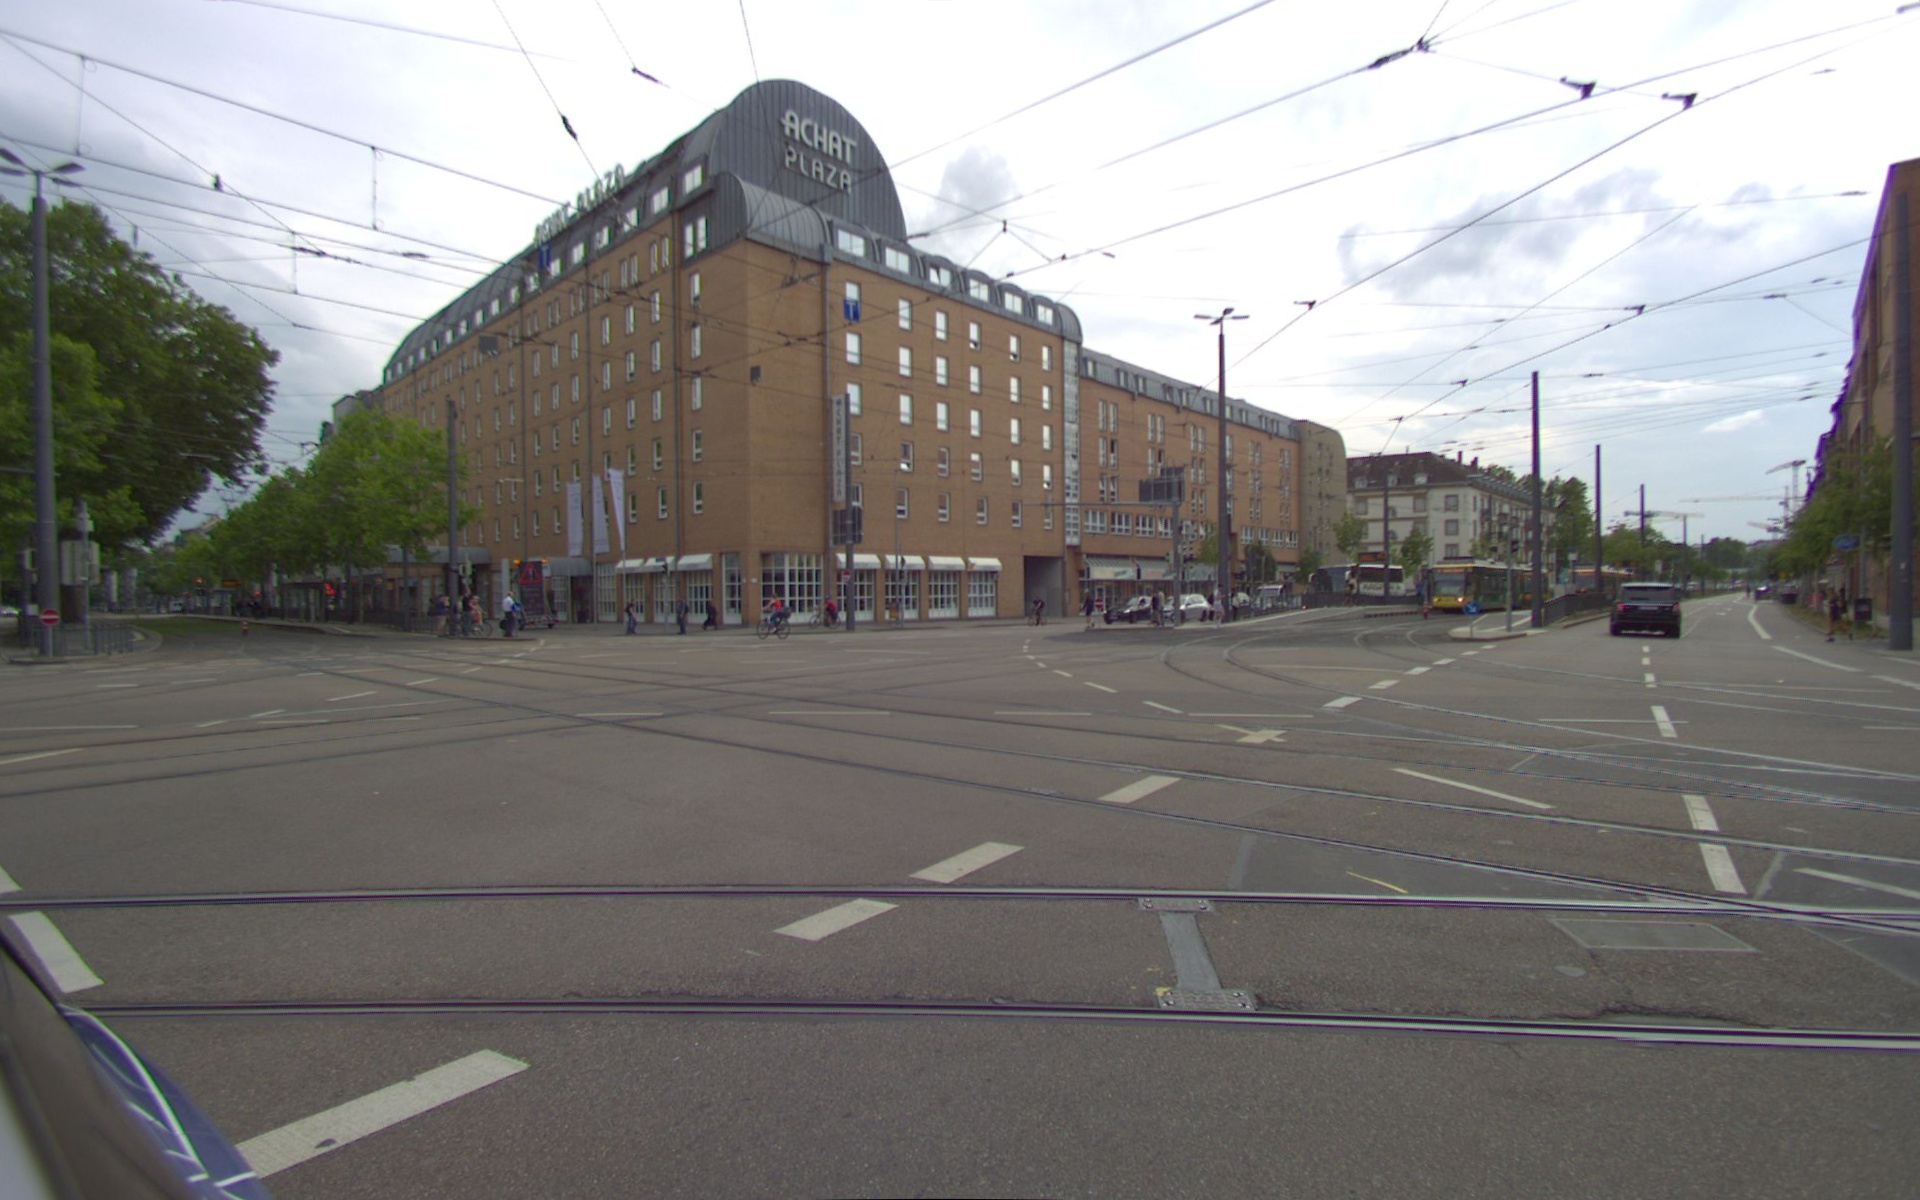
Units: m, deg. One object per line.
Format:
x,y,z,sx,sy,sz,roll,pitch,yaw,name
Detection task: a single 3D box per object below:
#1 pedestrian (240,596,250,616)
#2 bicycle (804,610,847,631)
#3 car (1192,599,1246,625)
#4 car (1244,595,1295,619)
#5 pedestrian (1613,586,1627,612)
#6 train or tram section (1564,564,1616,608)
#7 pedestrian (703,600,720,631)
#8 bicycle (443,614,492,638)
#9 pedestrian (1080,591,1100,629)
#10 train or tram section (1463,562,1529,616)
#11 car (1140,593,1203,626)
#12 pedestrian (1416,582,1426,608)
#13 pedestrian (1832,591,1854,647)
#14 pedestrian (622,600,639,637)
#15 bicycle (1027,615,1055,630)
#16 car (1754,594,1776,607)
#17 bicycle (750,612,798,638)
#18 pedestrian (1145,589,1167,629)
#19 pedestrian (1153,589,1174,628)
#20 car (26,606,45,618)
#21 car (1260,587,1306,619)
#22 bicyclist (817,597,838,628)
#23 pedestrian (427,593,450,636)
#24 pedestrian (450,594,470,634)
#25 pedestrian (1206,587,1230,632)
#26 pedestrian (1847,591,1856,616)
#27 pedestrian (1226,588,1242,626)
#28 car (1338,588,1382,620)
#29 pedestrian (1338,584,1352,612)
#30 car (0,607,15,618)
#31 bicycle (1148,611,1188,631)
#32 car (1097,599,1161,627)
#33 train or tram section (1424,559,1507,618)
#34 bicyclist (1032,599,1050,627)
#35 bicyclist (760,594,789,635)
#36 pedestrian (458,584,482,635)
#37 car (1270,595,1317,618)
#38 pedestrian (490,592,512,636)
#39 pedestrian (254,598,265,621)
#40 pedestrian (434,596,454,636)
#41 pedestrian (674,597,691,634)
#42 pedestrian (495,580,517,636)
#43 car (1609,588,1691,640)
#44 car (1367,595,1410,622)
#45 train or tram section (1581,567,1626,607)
-61.863,0.537,87.552,0.639,1.719,0.625,0,-1,-41,pedestrian
-6.751,1.007,50.887,2.025,1.016,0.642,0,0,-32,bicycle
15.435,0.697,60.173,1.700,1.453,3.948,-1,0,38,car
19.401,0.426,63.365,1.700,1.453,3.949,-2,-1,38,car
51.910,-0.100,79.610,0.779,2.029,1.213,-1,-1,40,pedestrian
53.123,-1.134,85.271,2.449,3.477,9.481,-2,-1,39,train or tram section
-12.108,0.763,49.264,0.642,1.518,0.534,0,0,7,pedestrian
-19.505,1.030,40.096,0.499,0.895,1.687,-1,0,44,bicycle
6.028,0.444,46.945,0.749,1.745,0.571,-1,0,35,pedestrian
37.270,-0.725,70.272,2.575,3.477,7.522,-2,-1,39,train or tram section
11.571,0.490,55.231,1.798,1.696,3.948,-1,0,39,car
30.835,-0.317,67.616,0.542,1.745,0.487,-1,0,32,pedestrian
27.203,0.575,31.172,0.460,1.722,0.475,-1,0,44,pedestrian
-15.473,0.882,47.531,0.535,1.719,0.556,-1,0,44,pedestrian
4.440,1.219,55.618,0.639,0.787,1.773,-1,0,39,bicycle
83.349,0.023,104.799,1.695,1.304,3.947,-1,0,40,car
-6.833,0.910,37.095,1.890,0.943,0.651,0,0,37,bicycle
8.734,0.401,45.099,0.749,1.745,0.571,-1,0,35,pedestrian
9.209,0.394,45.745,0.749,1.745,0.571,-1,0,35,pedestrian
-144.003,1.854,157.602,3.997,1.722,1.647,0,0,40,car
23.940,0.210,74.885,1.700,2.247,4.773,-1,0,38,car
-6.683,0.630,50.937,0.851,1.512,0.638,0,0,-32,bicyclist
-21.186,0.594,41.126,0.533,1.719,0.677,-1,0,33,pedestrian
-21.819,0.616,44.156,0.533,1.719,0.557,-1,0,33,pedestrian
10.230,0.374,40.114,0.750,1.745,0.571,-1,0,40,pedestrian
62.772,0.252,71.271,0.432,1.722,0.525,-1,0,37,pedestrian
12.704,0.315,46.893,0.576,1.745,0.625,-1,0,31,pedestrian
30.290,0.289,76.539,1.700,2.337,5.018,-2,-1,38,car
21.778,-0.116,57.253,0.654,1.548,0.486,-1,0,36,pedestrian
-146.624,1.876,155.410,3.997,1.722,1.647,0,0,40,car
9.488,0.937,46.170,1.790,0.895,0.474,0,0,40,bicycle
9.473,0.696,56.534,1.798,1.490,3.948,-2,-1,39,car
31.933,-0.678,63.733,2.574,3.477,9.481,-2,-1,39,train or tram section
4.455,0.689,55.632,0.636,1.512,0.854,-1,0,39,bicyclist
-6.796,0.523,37.060,0.816,1.512,0.643,-1,0,37,bicyclist
-19.257,0.376,39.764,0.534,1.966,0.684,-1,0,39,pedestrian
22.031,0.418,66.763,1.700,1.453,3.948,-1,0,38,car
-18.115,0.547,39.927,0.577,1.719,0.557,-1,0,33,pedestrian
-53.279,0.711,76.984,0.639,1.719,0.625,0,-1,-44,pedestrian
-21.906,0.675,42.943,0.533,1.719,0.557,-1,0,33,pedestrian
-12.841,0.722,46.889,0.534,1.719,0.556,-1,0,42,pedestrian
-17.504,0.317,39.042,0.533,2.146,0.557,-1,0,33,pedestrian
23.203,0.429,33.963,1.932,1.620,4.473,-1,0,38,car
35.063,0.673,82.745,1.998,2.183,4.511,-2,-1,39,car
58.534,-1.166,91.924,2.440,3.466,8.058,-2,-1,39,train or tram section
